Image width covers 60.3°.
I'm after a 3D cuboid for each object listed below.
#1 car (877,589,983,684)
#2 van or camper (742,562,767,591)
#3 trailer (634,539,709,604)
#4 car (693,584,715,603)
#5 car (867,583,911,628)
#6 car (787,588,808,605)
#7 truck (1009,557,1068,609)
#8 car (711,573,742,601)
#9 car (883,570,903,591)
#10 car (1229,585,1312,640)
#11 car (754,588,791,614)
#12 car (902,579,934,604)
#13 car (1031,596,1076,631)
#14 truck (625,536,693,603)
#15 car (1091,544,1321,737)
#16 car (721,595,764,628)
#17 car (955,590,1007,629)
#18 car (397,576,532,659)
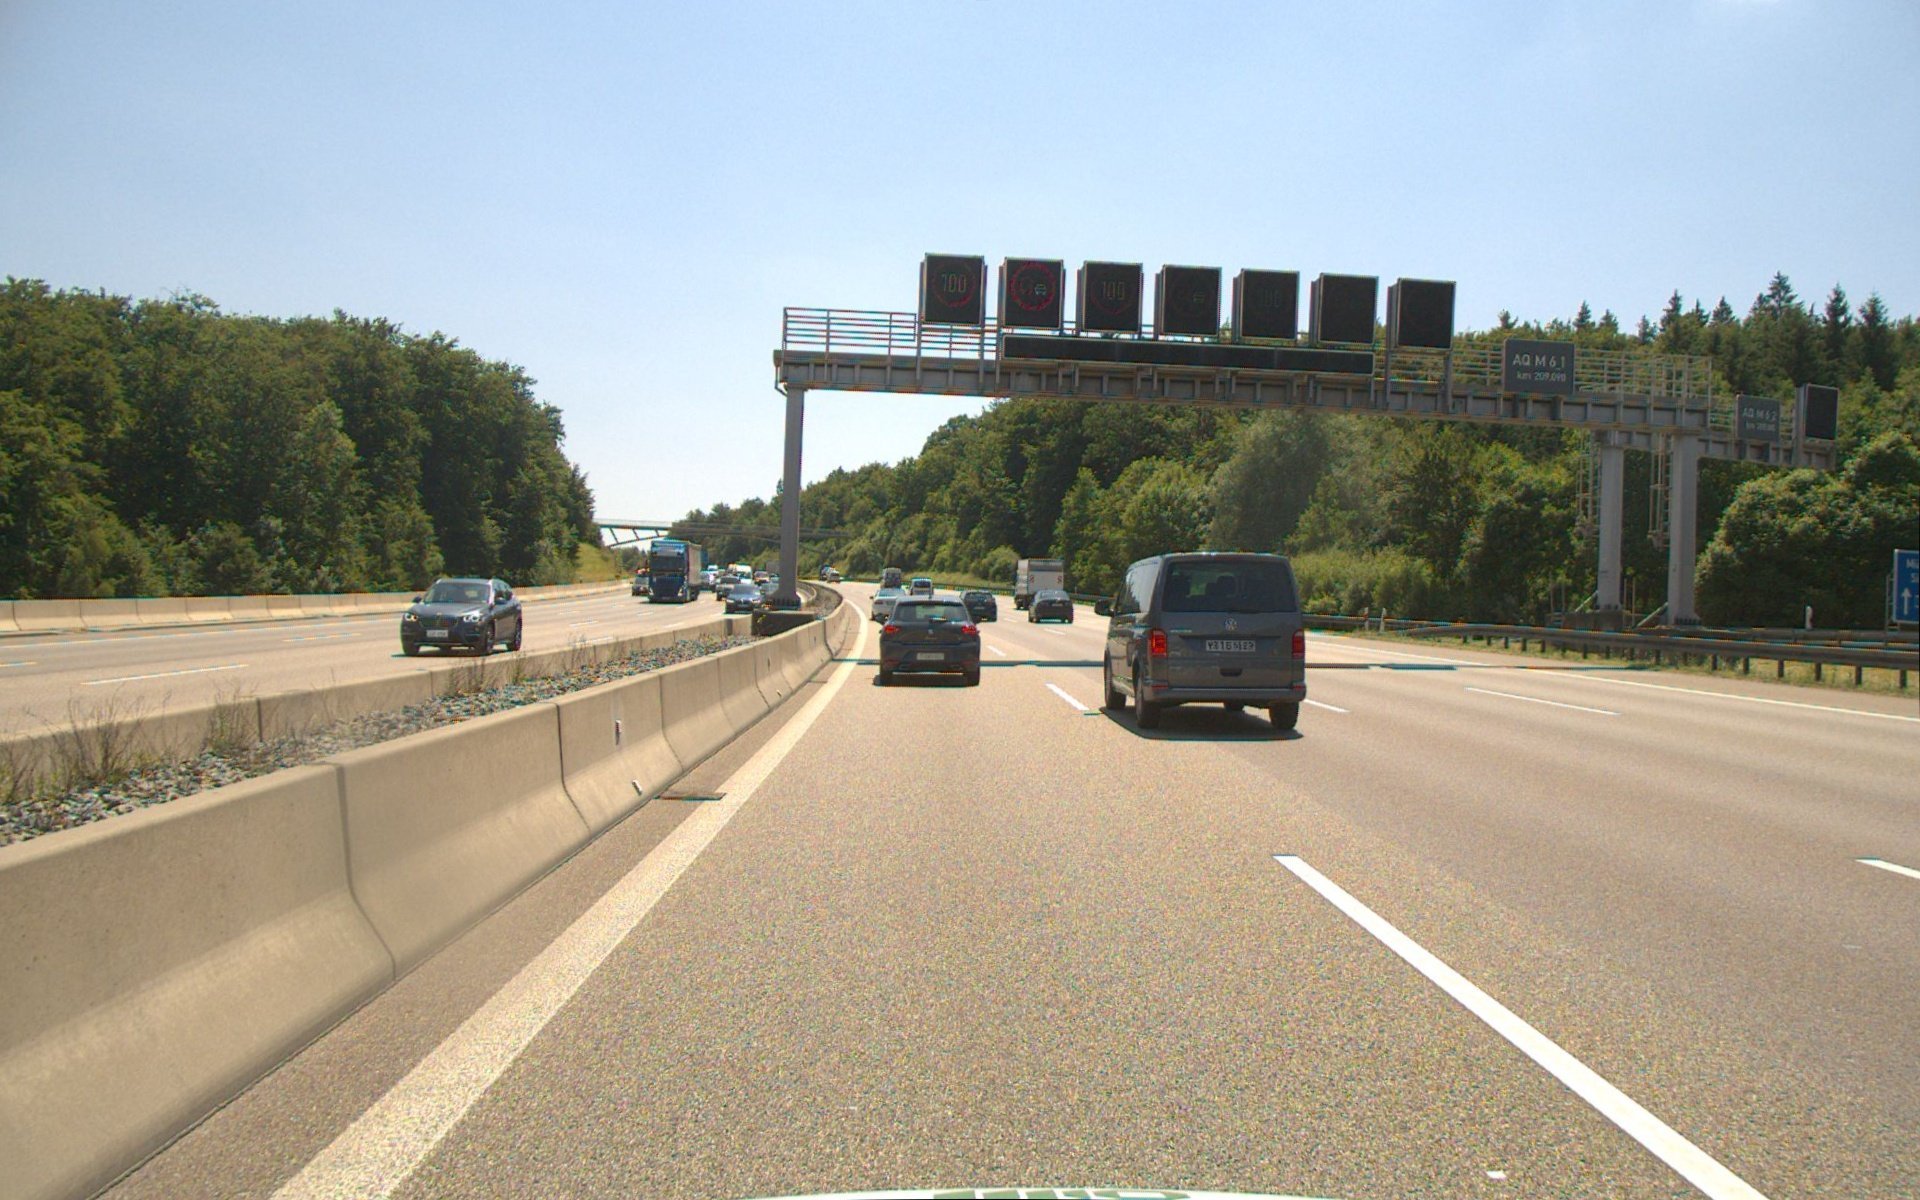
[{"bbox_3d":[-0.518,0.571,28.501,1.673,1.458,3.999,1,1,-1],"label":"car"},{"bbox_3d":[-19.379,-2.198,156.199,2.058,2.611,6.394,1,0,-4],"label":"van or camper"},{"bbox_3d":[-20.706,-1.956,119.668,3.760,4.354,14.465,2,0,-4],"label":"trailer"},{"bbox_3d":[-24.607,-0.634,158.817,1.957,1.793,5.056,1,0,-10],"label":"car"},{"bbox_3d":[-3.294,0.288,76.613,1.972,1.878,3.997,1,-3,-3],"label":"car"},{"bbox_3d":[-13.835,-0.335,140.863,1.608,1.373,3.996,2,0,-4],"label":"car"},{"bbox_3d":[5.113,-1.153,108.757,2.927,3.222,7.568,1,1,-4],"label":"truck"},{"bbox_3d":[-17.193,-0.966,121.916,1.954,2.001,4.779,1,0,-5],"label":"car"},{"bbox_3d":[-7.892,-2.288,193.839,2.220,2.413,4.699,1,0,-3],"label":"car"},{"bbox_3d":[10.410,0.392,55.696,1.953,1.758,3.999,1,0,-1],"label":"car"},{"bbox_3d":[-11.574,0.058,102.251,1.917,1.545,5.131,1,0,-3],"label":"car"},{"bbox_3d":[-3.136,-0.660,122.366,2.062,1.774,4.683,1,1,-5],"label":"car"},{"bbox_3d":[4.207,0.589,75.039,1.631,1.433,4.902,1,1,-1],"label":"car"},{"bbox_3d":[-20.101,-2.004,110.892,3.711,4.250,5.874,2,0,-4],"label":"truck"},{"bbox_3d":[2.857,0.431,20.385,1.923,2.069,5.081,1,0,-2],"label":"car"},{"bbox_3d":[-11.135,0.614,84.964,1.817,1.545,4.518,1,-2,-3],"label":"car"},{"bbox_3d":[0.941,0.449,76.671,1.955,1.758,4.144,1,-1,-5],"label":"car"},{"bbox_3d":[-10.771,0.335,36.281,1.719,1.663,4.636,1,1,-2],"label":"car"}]
